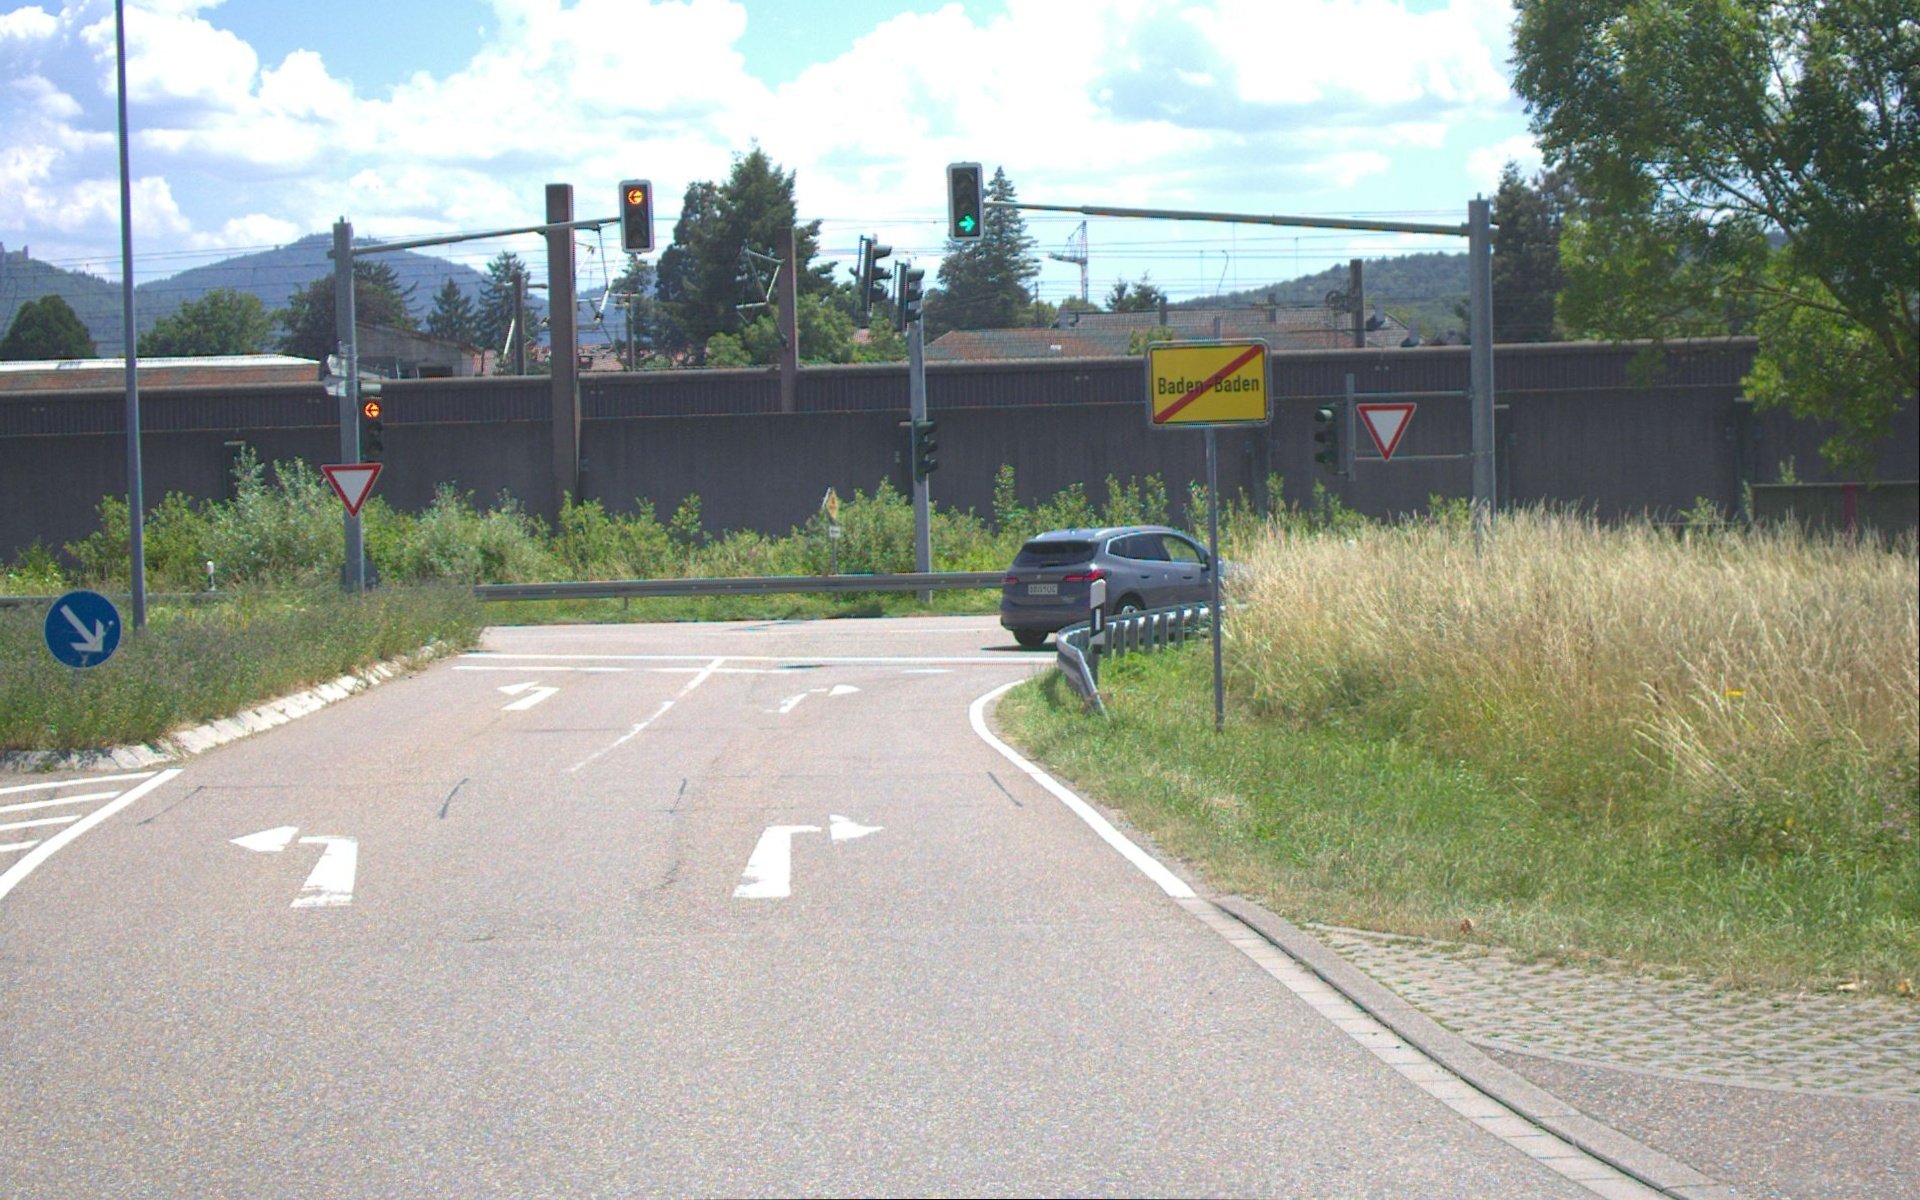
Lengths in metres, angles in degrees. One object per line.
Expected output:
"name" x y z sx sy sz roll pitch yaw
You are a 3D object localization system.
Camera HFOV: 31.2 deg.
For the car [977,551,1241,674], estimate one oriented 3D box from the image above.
"car" 2.071 0.126 46.719 1.997 1.498 3.994 1 2 29
